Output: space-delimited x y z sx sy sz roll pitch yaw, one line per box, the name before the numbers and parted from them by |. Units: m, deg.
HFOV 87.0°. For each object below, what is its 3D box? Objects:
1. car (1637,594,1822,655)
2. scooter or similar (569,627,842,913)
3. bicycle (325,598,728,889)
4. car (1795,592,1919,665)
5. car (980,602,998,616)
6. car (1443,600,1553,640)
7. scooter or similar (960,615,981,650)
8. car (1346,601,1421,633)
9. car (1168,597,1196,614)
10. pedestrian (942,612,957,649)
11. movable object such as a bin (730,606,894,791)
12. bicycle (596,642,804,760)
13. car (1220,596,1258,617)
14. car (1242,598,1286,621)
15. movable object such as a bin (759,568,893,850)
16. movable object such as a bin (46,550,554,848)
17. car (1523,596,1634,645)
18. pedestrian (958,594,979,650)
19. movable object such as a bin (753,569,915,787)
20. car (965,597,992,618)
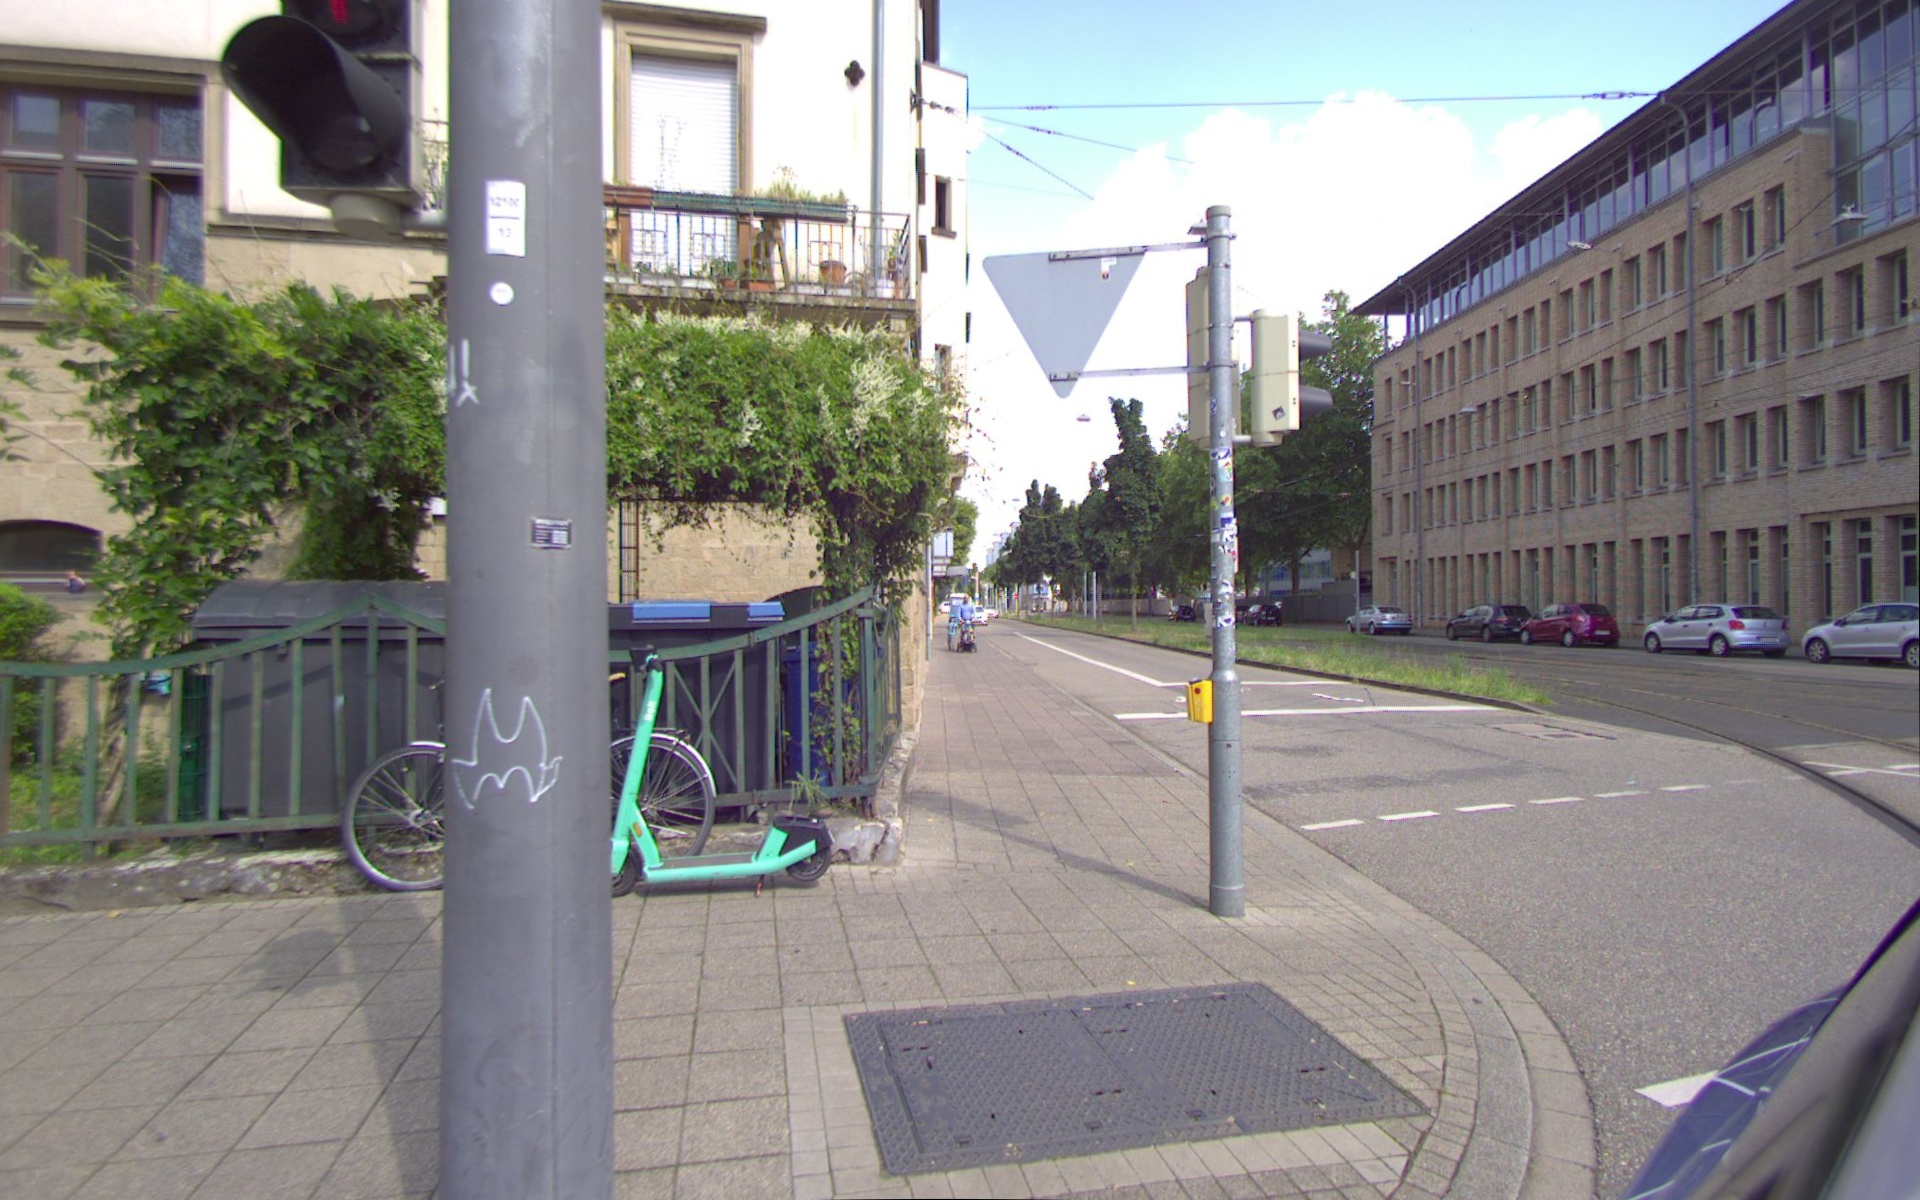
car | 20.882 0.627 27.731 1.822 1.550 4.209 0 0 0
scooter or similar | -1.149 0.751 4.720 1.173 1.232 0.464 0 0 -7
bicycle | -2.073 0.665 4.979 1.795 1.346 0.277 0 -1 -11
car | 21.215 0.603 22.515 1.902 1.550 4.014 0 0 0
car | 3.357 1.001 117.240 1.768 1.549 4.042 -1 0 -1
car | 20.476 0.734 38.713 1.902 1.414 4.238 0 0 0
scooter or similar | 0.318 1.001 31.365 0.583 1.015 0.905 4 0 0
car | 20.269 0.781 48.608 1.688 1.414 4.484 0 0 0
car | 19.181 0.473 87.583 1.572 1.482 3.999 0 0 0
pedestrian | -0.334 0.957 31.917 0.449 1.149 0.494 -1 -1 0
movable object such as a bin | -0.985 0.639 6.906 1.012 1.189 0.659 0 0 1
bicycle | -2.362 0.910 9.341 1.809 1.013 0.512 0 0 -8
car | 19.746 0.472 71.768 1.529 1.444 3.902 0 0 -1
car | 19.847 0.608 66.282 1.775 1.471 3.998 0 0 2
movable object such as a bin | -0.791 0.575 5.881 0.702 1.490 0.984 0 0 -10
movable object such as a bin | -3.426 0.476 5.506 2.057 1.431 1.055 0 0 -7
car | 20.812 0.658 34.220 1.558 1.550 3.549 0 0 0
pedestrian | 0.274 0.687 32.272 0.611 1.761 0.877 1 -1 0
movable object such as a bin | -0.955 0.557 8.323 1.034 1.559 2.099 0 0 1
car | 1.368 0.555 76.222 1.768 1.549 4.041 -1 0 -1
